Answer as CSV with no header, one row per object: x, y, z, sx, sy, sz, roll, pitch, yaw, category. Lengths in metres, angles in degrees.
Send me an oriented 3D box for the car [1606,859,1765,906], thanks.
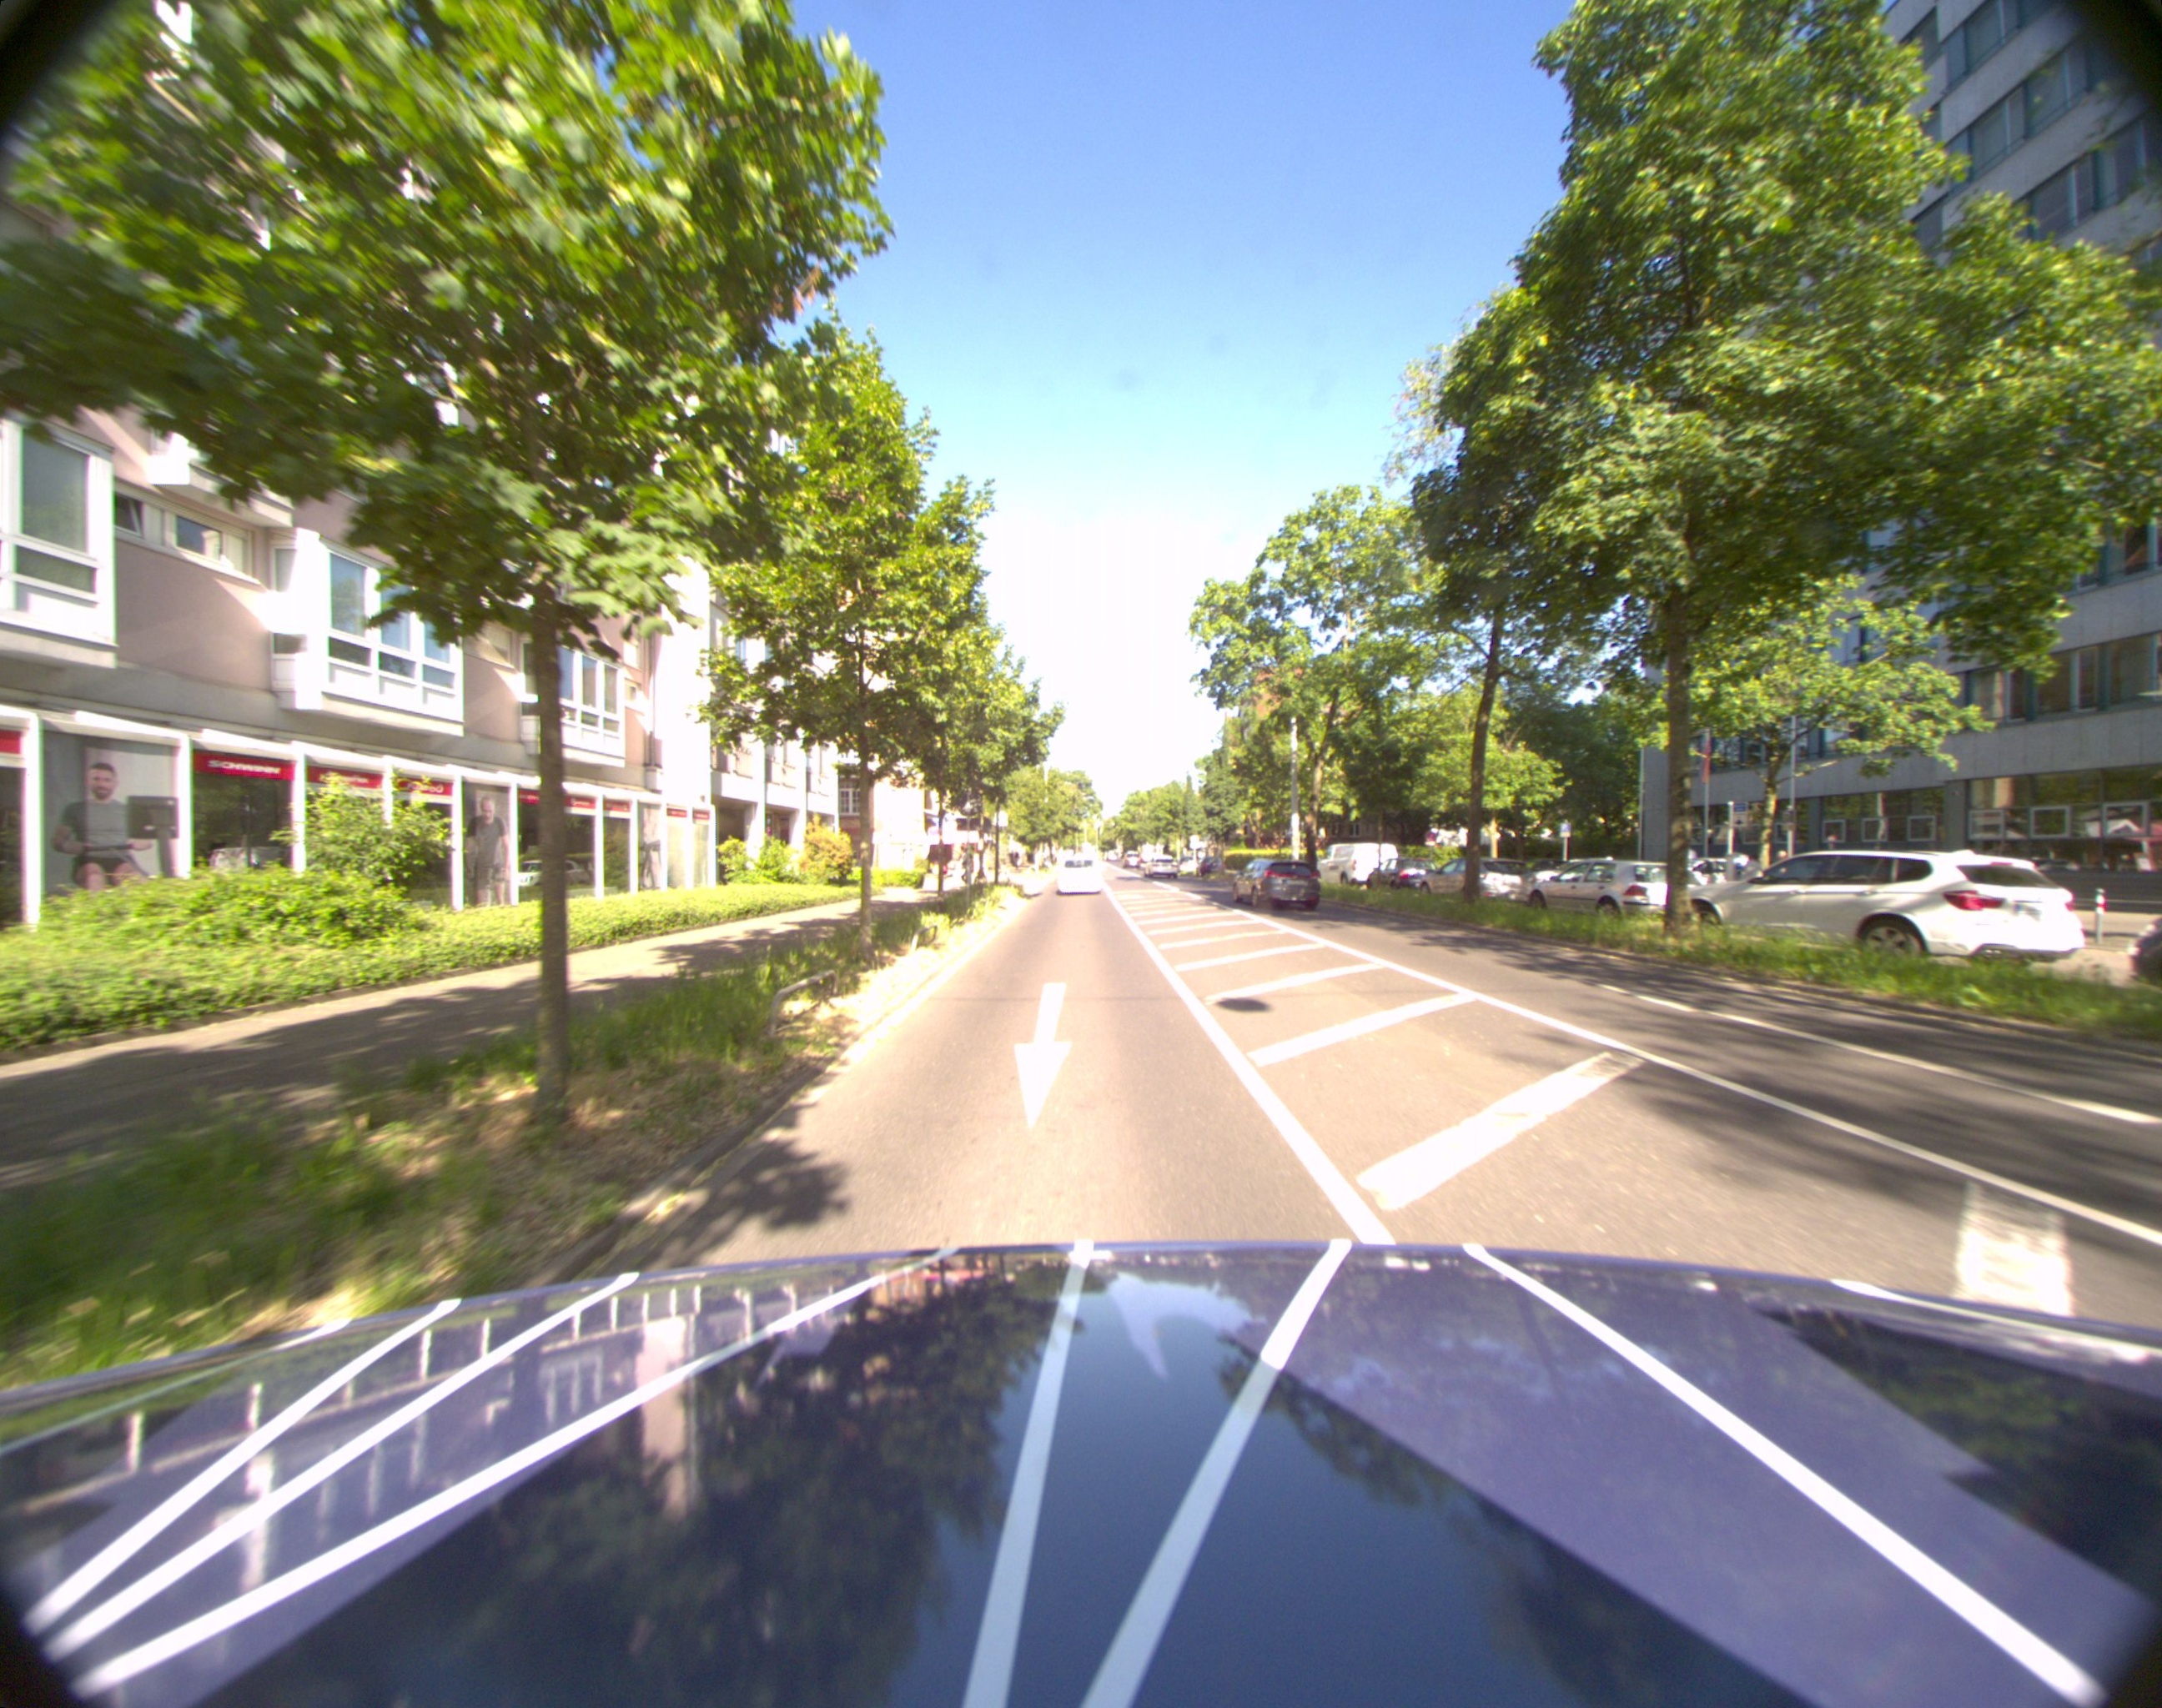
20.987,0.953,26.525,3.996,1.543,1.895,0,1,2,car

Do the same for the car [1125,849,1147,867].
6.035,0.416,83.933,2.169,2.002,4.411,0,0,2,car

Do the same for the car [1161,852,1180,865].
9.534,0.483,81.297,1.606,1.406,4.000,0,0,1,car

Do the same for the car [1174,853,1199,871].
9.040,0.665,65.284,1.606,1.406,4.000,0,0,1,car

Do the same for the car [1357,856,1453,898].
11.477,0.768,27.250,1.679,1.325,4.188,0,0,0,car

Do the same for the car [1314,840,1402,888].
11.716,0.390,32.498,2.070,1.898,4.525,0,0,-1,car

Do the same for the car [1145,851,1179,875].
5.444,0.561,51.239,1.792,1.575,4.187,0,0,-1,car

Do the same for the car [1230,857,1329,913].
5.773,0.852,22.614,1.792,1.414,4.188,1,0,0,car

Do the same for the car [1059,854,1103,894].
-0.006,0.750,30.819,1.664,1.521,4.099,0,0,-1,car

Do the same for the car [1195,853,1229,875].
9.264,0.661,53.923,1.740,1.481,4.000,0,0,1,car

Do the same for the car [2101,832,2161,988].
11.544,0.568,5.712,1.734,1.540,4.448,0,0,0,car

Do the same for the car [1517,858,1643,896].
20.872,0.939,31.906,3.996,1.543,1.895,0,1,2,car

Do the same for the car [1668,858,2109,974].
11.731,0.771,11.629,1.721,1.375,4.490,0,0,-6,car

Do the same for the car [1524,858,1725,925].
11.542,0.731,16.489,1.655,1.219,3.847,0,0,1,car

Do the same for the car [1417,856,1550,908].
11.501,0.733,22.028,1.657,1.336,3.968,0,0,-1,car
